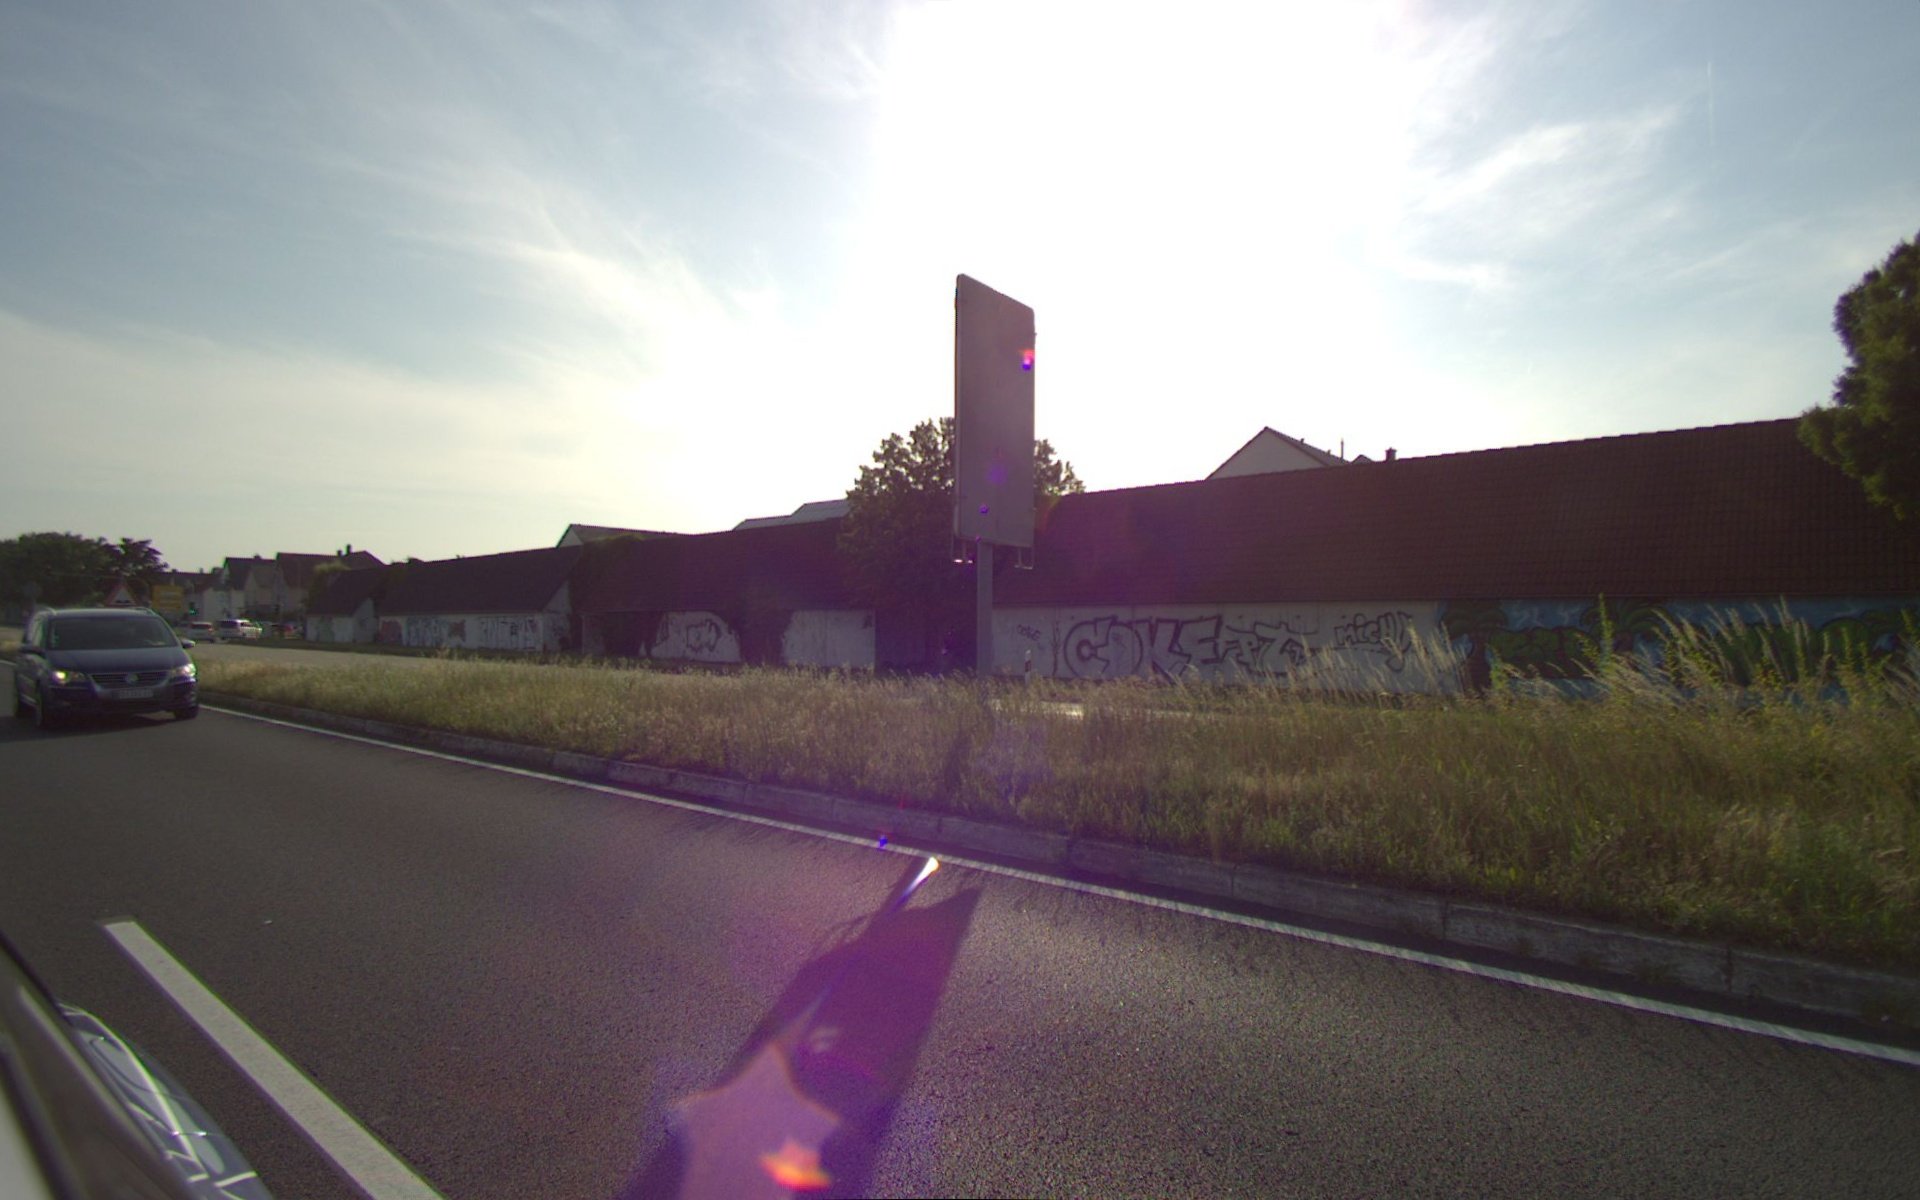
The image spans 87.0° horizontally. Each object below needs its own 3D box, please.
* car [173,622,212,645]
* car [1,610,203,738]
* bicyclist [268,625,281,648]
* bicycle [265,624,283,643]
[{"bbox_3d":[-63.741,2.751,84.025,1.815,1.720,4.760,5,-4,-45],"label":"car"},{"bbox_3d":[-13.003,0.973,15.226,4.681,1.633,1.753,0,-1,43],"label":"car"},{"bbox_3d":[-63.734,3.398,94.142,1.062,2.029,0.762,-1,0,41],"label":"bicyclist"},{"bbox_3d":[-63.909,3.112,94.273,2.606,1.762,0.745,0,0,42],"label":"bicycle"}]
